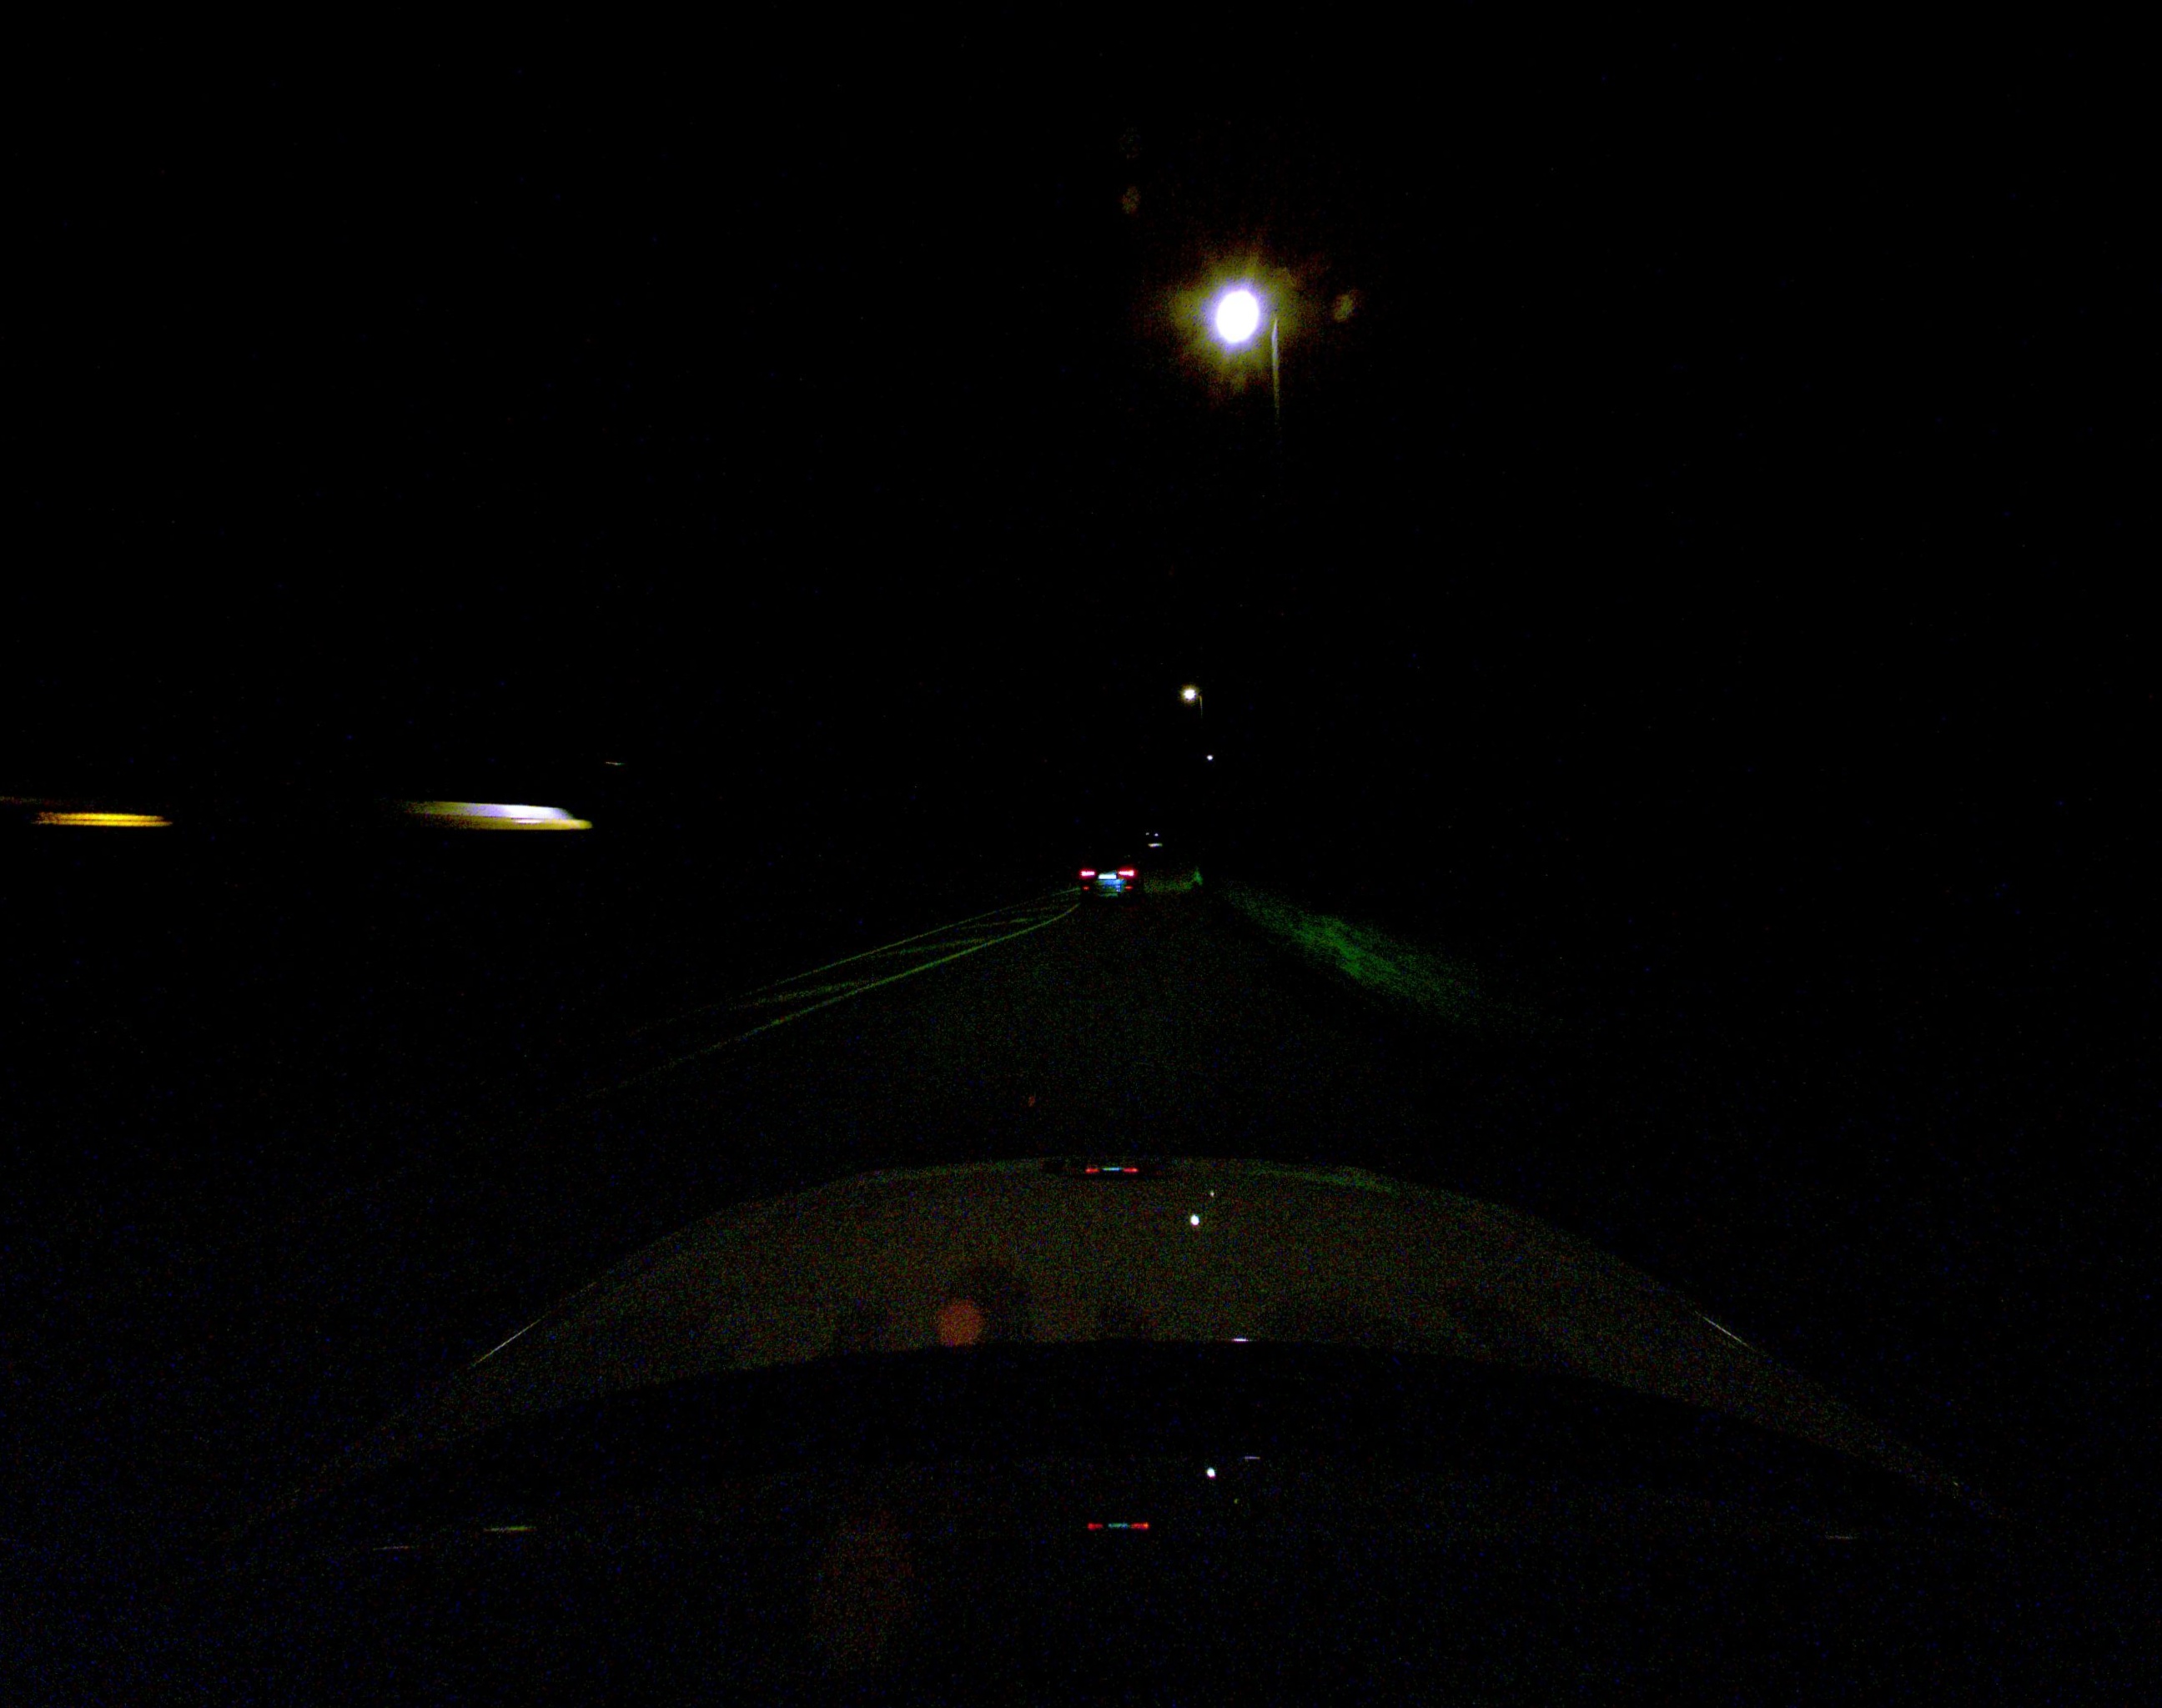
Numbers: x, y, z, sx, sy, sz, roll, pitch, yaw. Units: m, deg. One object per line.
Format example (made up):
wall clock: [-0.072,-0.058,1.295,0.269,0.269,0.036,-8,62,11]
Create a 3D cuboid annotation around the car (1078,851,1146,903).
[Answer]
car: [1.084,0.696,26.711,1.805,1.573,3.952,-1,0,8]
